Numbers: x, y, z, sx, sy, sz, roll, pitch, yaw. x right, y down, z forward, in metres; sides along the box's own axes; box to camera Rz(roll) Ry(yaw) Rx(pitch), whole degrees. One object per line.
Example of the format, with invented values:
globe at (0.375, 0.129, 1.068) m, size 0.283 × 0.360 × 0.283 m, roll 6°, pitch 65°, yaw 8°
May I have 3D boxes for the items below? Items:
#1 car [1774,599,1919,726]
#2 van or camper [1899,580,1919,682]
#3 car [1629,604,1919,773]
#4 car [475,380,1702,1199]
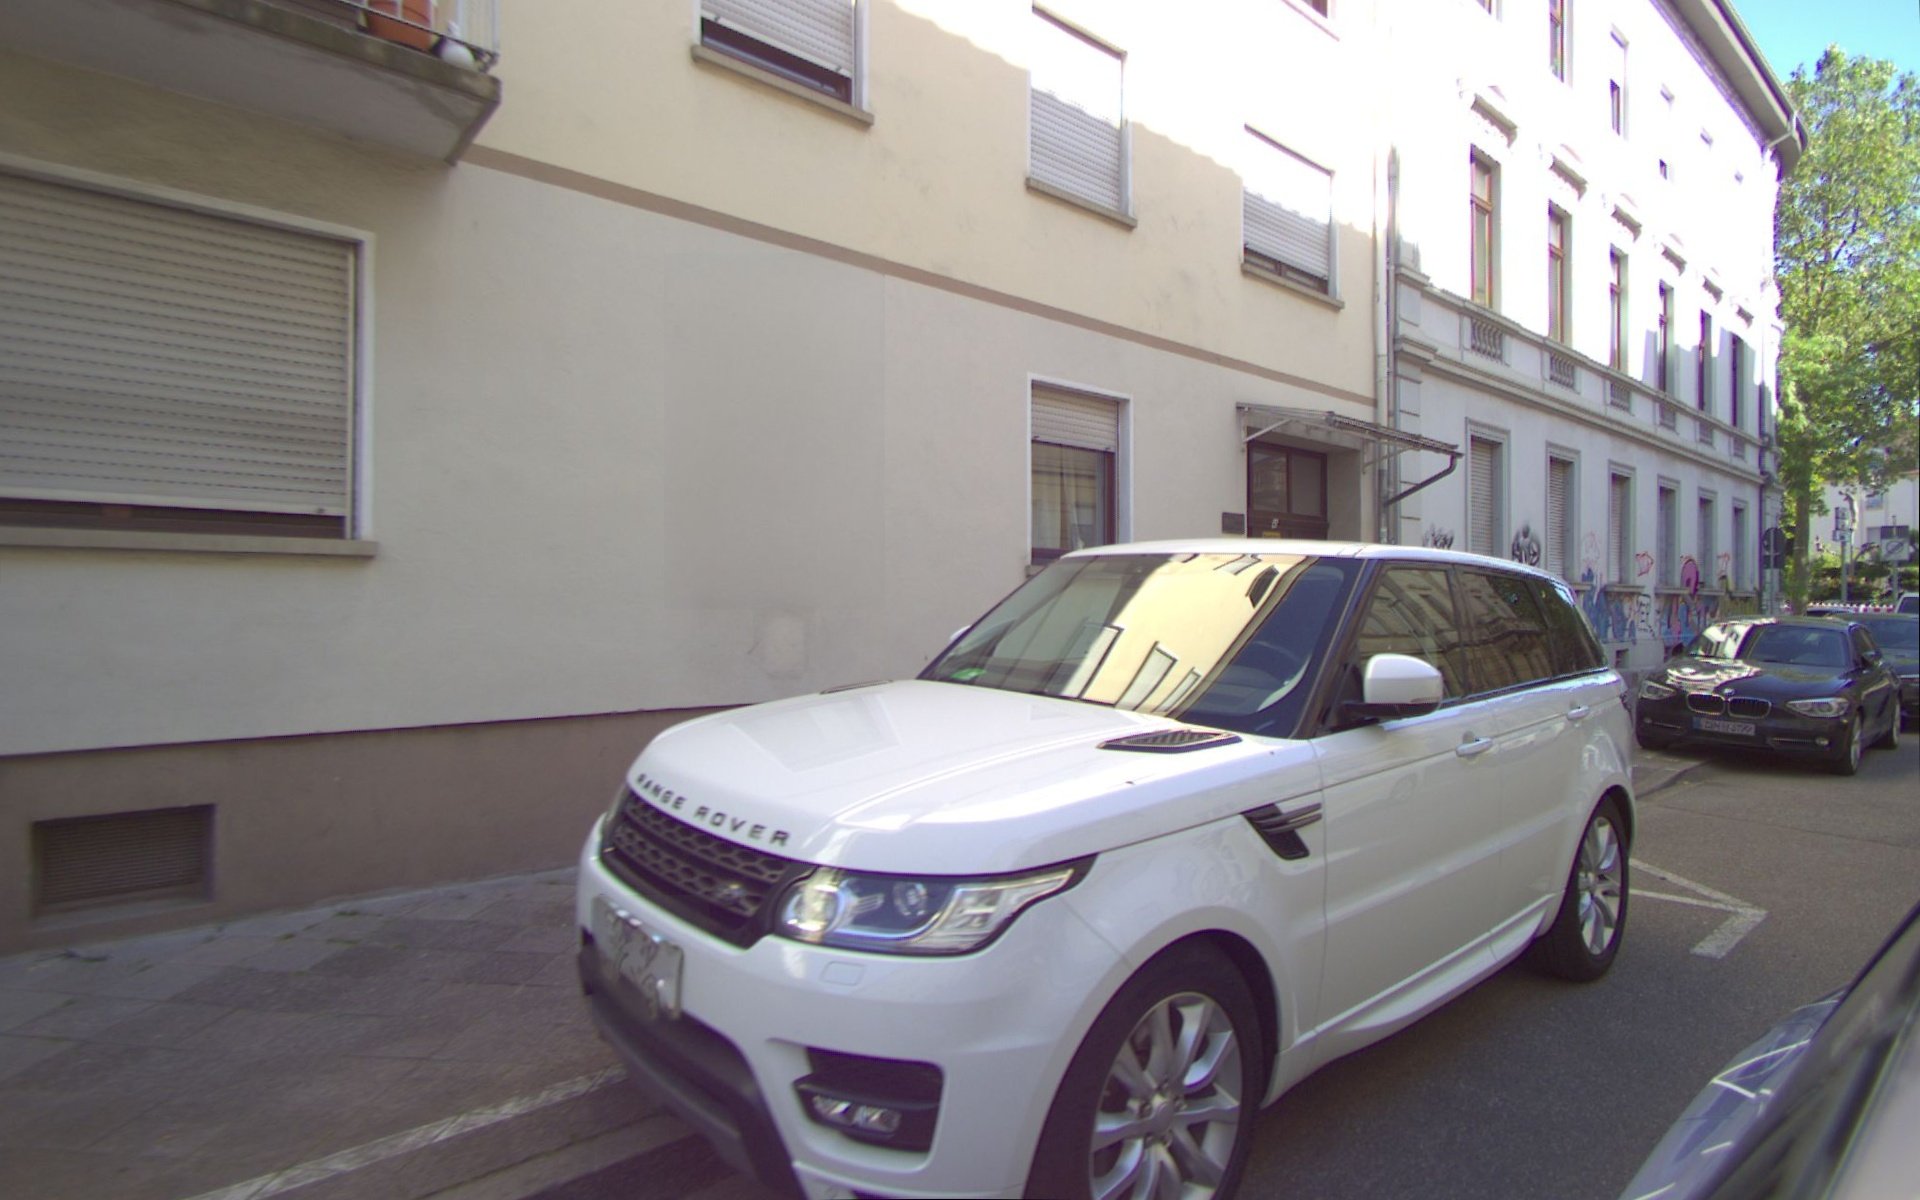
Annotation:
car at (13.103, 0.792, 14.171) m, size 4.644 × 1.539 × 1.817 m, roll 1°, pitch -2°, yaw -41°
van or camper at (21.617, 0.652, 21.619) m, size 4.945 × 2.039 × 1.896 m, roll 1°, pitch 0°, yaw -42°
car at (8.732, 0.812, 10.726) m, size 3.801 × 1.467 × 1.749 m, roll 1°, pitch -2°, yaw -41°
car at (1.000, 0.574, 3.932) m, size 4.851 × 1.806 × 2.009 m, roll 1°, pitch 0°, yaw -41°
